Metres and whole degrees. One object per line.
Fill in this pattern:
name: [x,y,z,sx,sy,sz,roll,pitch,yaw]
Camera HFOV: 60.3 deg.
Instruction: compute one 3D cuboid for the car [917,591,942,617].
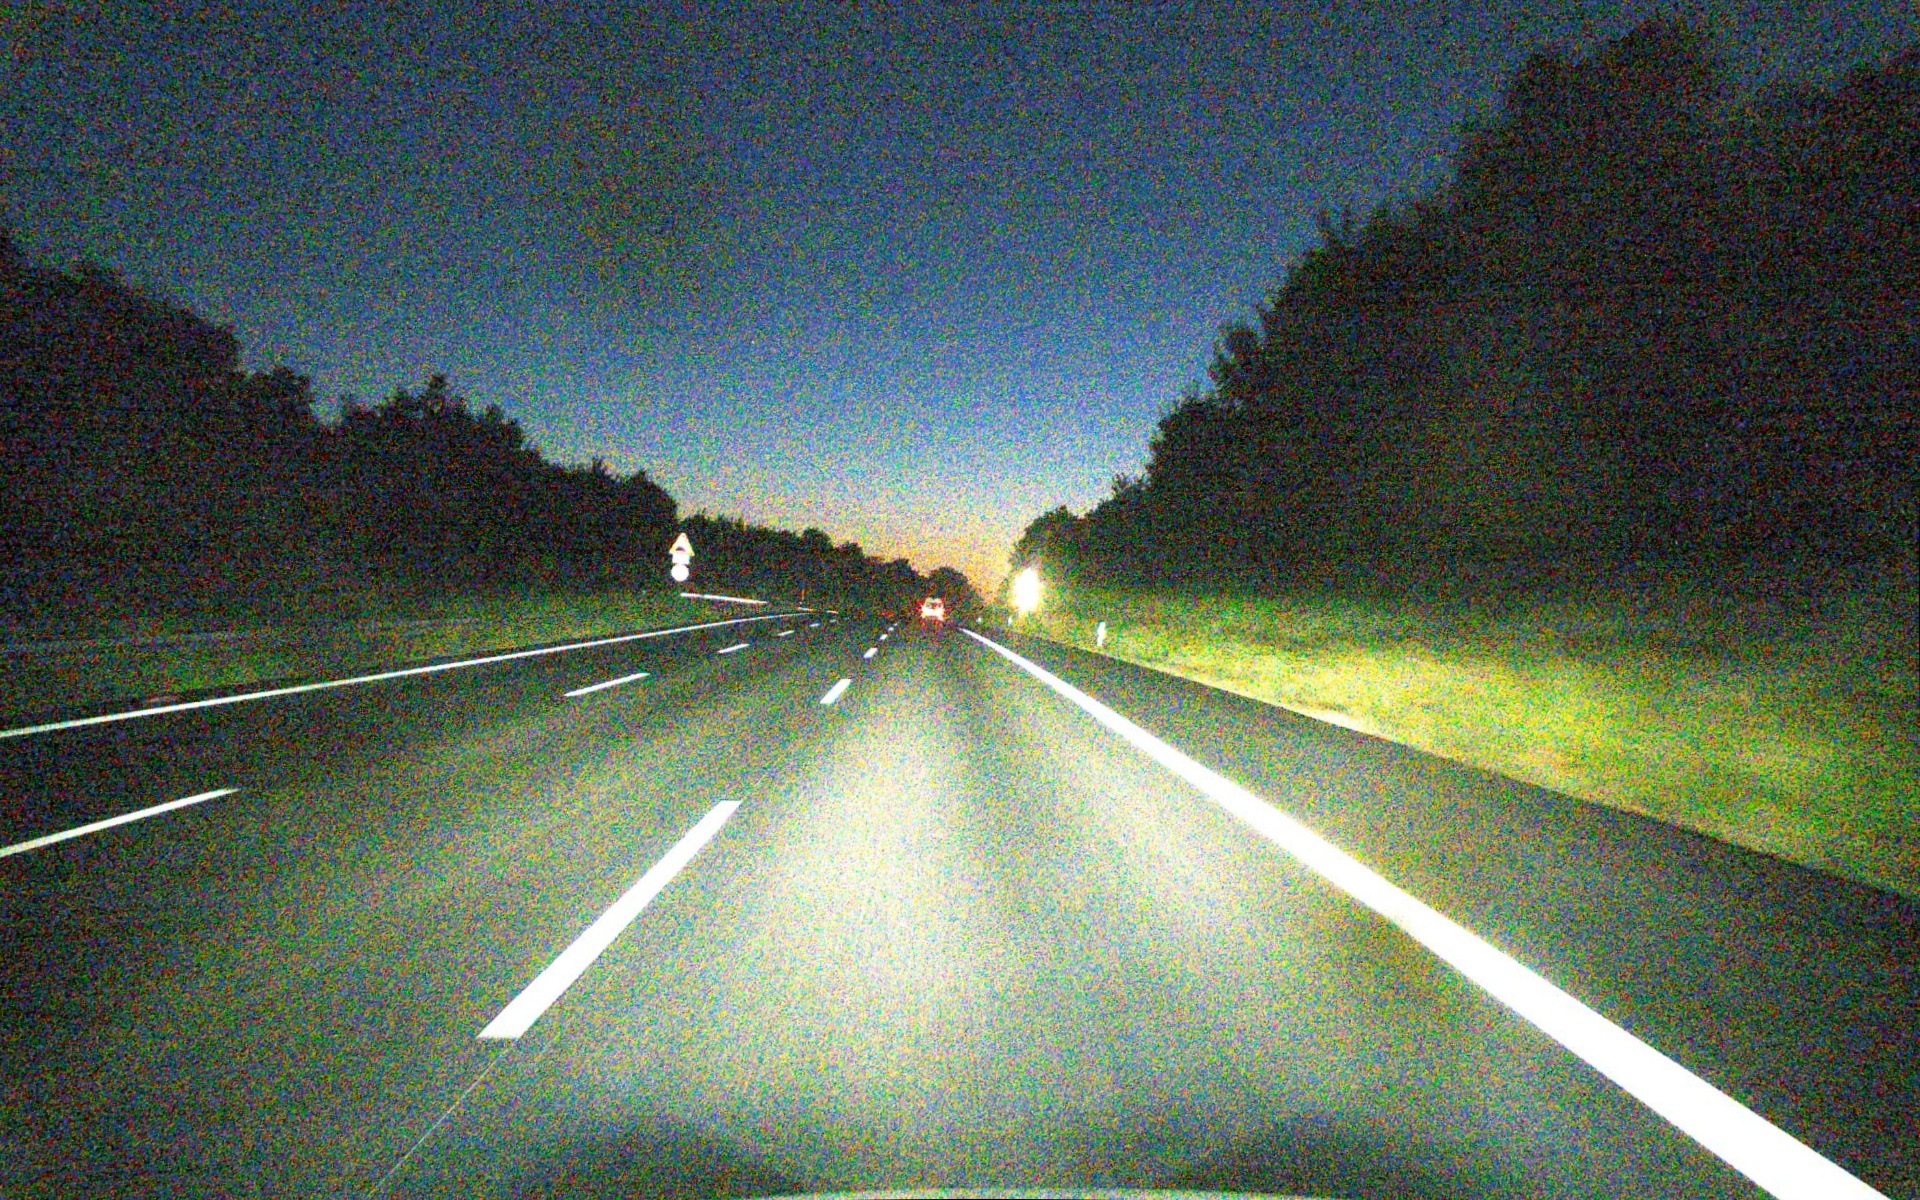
car: [-3.283,0.427,178.608,2.476,2.598,6.051,2,0,0]
